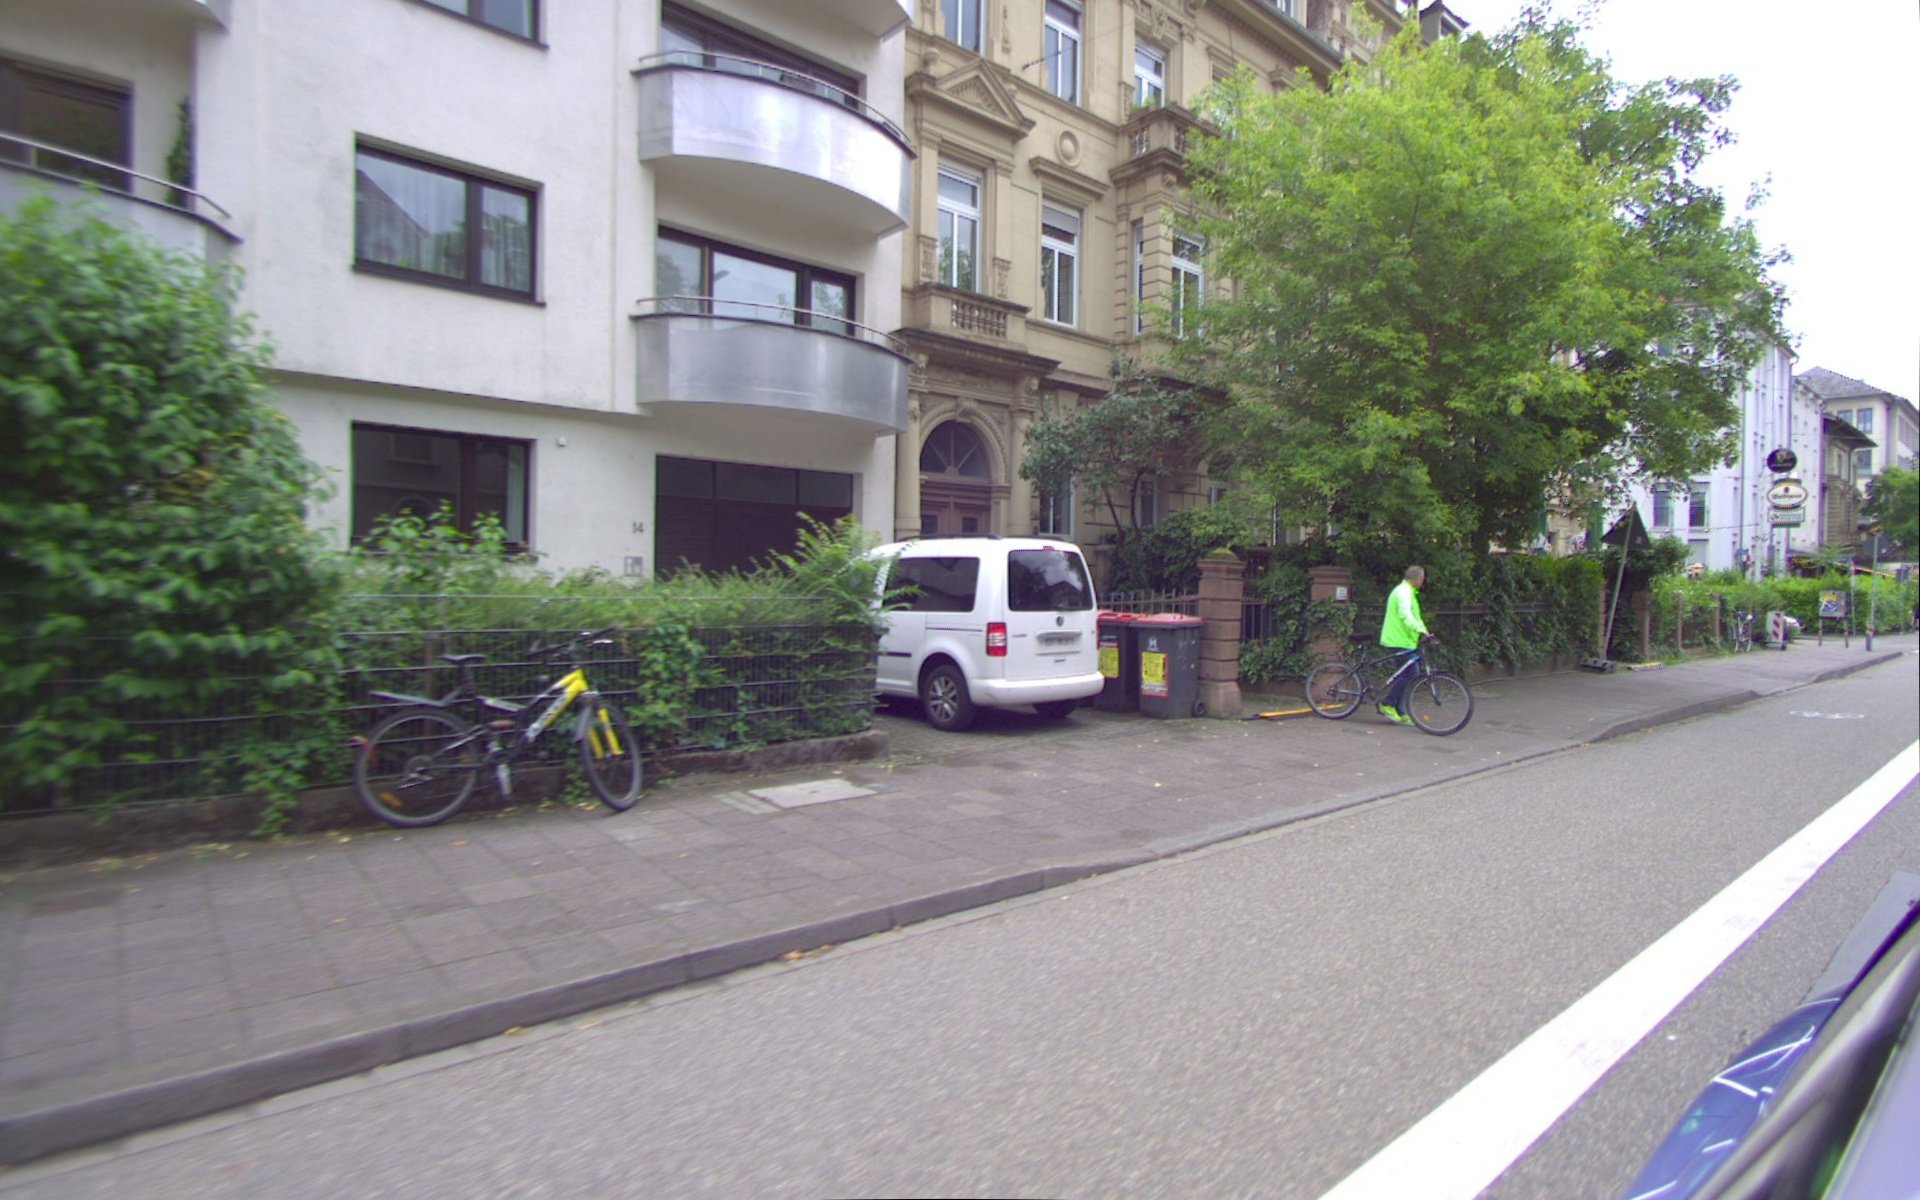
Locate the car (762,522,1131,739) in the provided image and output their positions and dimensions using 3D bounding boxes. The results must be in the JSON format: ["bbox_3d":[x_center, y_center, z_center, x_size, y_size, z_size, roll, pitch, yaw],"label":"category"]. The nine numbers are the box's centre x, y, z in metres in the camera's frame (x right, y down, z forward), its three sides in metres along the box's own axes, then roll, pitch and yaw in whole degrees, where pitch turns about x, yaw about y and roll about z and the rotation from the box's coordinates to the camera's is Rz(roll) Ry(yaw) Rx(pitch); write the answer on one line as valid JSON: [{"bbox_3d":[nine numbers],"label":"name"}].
[{"bbox_3d":[-0.308,0.202,10.869,1.778,1.881,3.993,0,2,-42],"label":"car"}]

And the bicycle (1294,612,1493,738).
[{"bbox_3d":[4.638,0.754,10.940,0.596,1.088,1.845,1,4,-42],"label":"bicycle"}]

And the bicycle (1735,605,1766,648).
[{"bbox_3d":[20.087,0.653,25.706,1.816,1.054,0.302,0,1,-41],"label":"bicycle"}]

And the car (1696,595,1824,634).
[{"bbox_3d":[32.708,0.573,41.477,1.636,1.449,3.829,1,0,-18],"label":"car"}]

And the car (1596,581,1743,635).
[{"bbox_3d":[26.028,0.268,37.115,4.923,1.901,2.063,0,1,-22],"label":"car"}]

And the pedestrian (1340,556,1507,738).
[{"bbox_3d":[4.953,0.452,10.846,1.000,1.753,1.231,1,4,-41],"label":"pedestrian"}]

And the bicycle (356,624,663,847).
[{"bbox_3d":[-2.512,0.697,5.741,1.505,1.058,0.480,0,3,-41],"label":"bicycle"}]

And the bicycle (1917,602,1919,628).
[{"bbox_3d":[44.388,0.711,46.333,1.781,1.141,0.634,1,2,-42],"label":"bicycle"}]
